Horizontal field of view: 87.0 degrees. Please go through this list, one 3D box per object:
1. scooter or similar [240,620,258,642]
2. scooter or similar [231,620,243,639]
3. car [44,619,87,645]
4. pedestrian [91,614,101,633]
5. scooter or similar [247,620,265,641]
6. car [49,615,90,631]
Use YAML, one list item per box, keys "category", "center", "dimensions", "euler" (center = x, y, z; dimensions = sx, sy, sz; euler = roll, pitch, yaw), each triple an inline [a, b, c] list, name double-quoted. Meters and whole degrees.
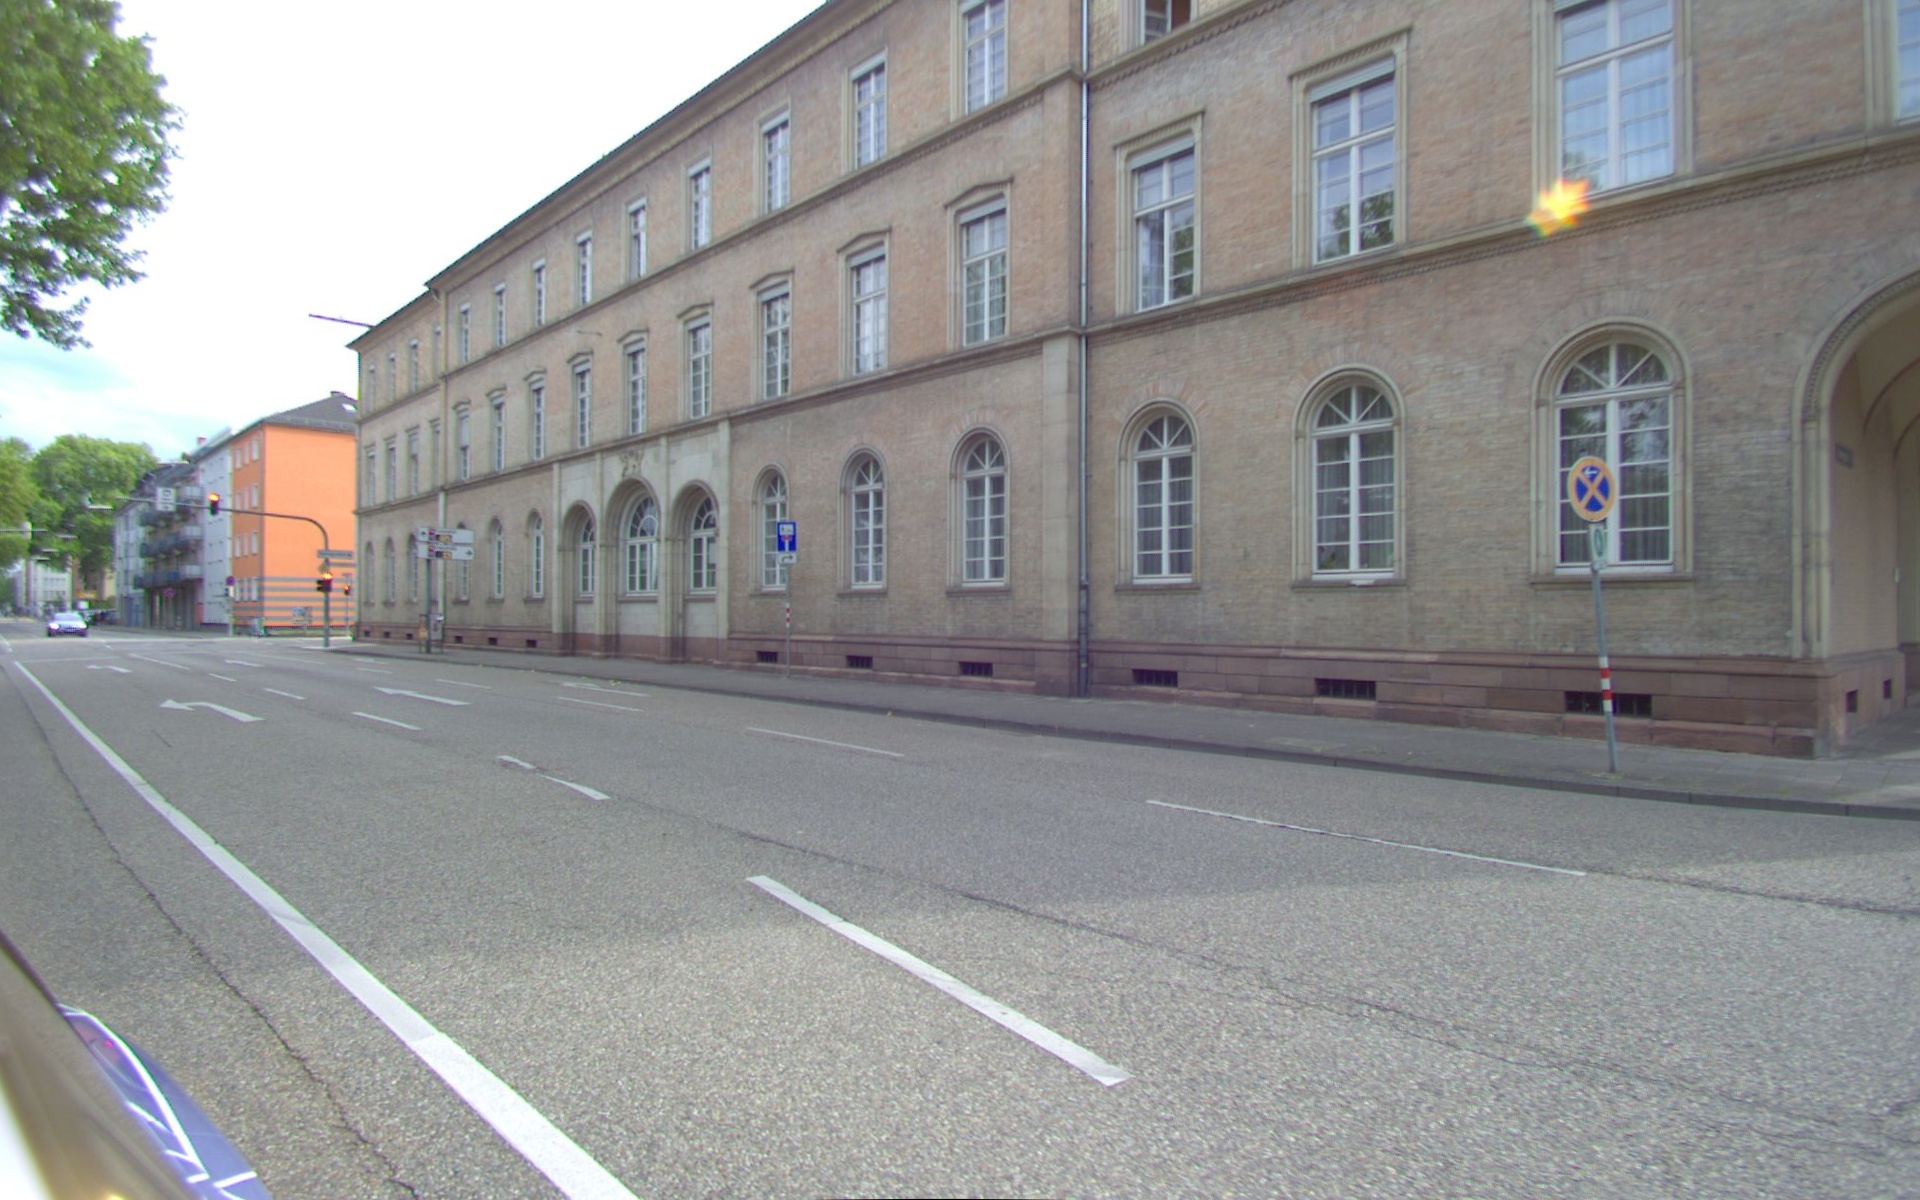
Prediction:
- category: "scooter or similar"
  center: [-39.781, 1.743, 56.611]
  dimensions: [1.338, 1.188, 0.326]
  euler: [-2, 0, 32]
- category: "scooter or similar"
  center: [-44.021, 1.772, 61.630]
  dimensions: [0.364, 1.133, 1.355]
  euler: [-1, 0, -44]
- category: "car"
  center: [-53.050, 1.878, 59.981]
  dimensions: [3.821, 1.450, 1.650]
  euler: [-1, -2, 45]
- category: "pedestrian"
  center: [-94.114, 2.527, 110.229]
  dimensions: [0.830, 2.029, 0.876]
  euler: [-1, 0, -41]
- category: "scooter or similar"
  center: [-39.616, 1.744, 56.958]
  dimensions: [1.349, 1.166, 0.326]
  euler: [-2, 0, 32]
- category: "car"
  center: [-117.403, 3.011, 133.422]
  dimensions: [2.001, 2.029, 3.942]
  euler: [-2, 0, 44]
